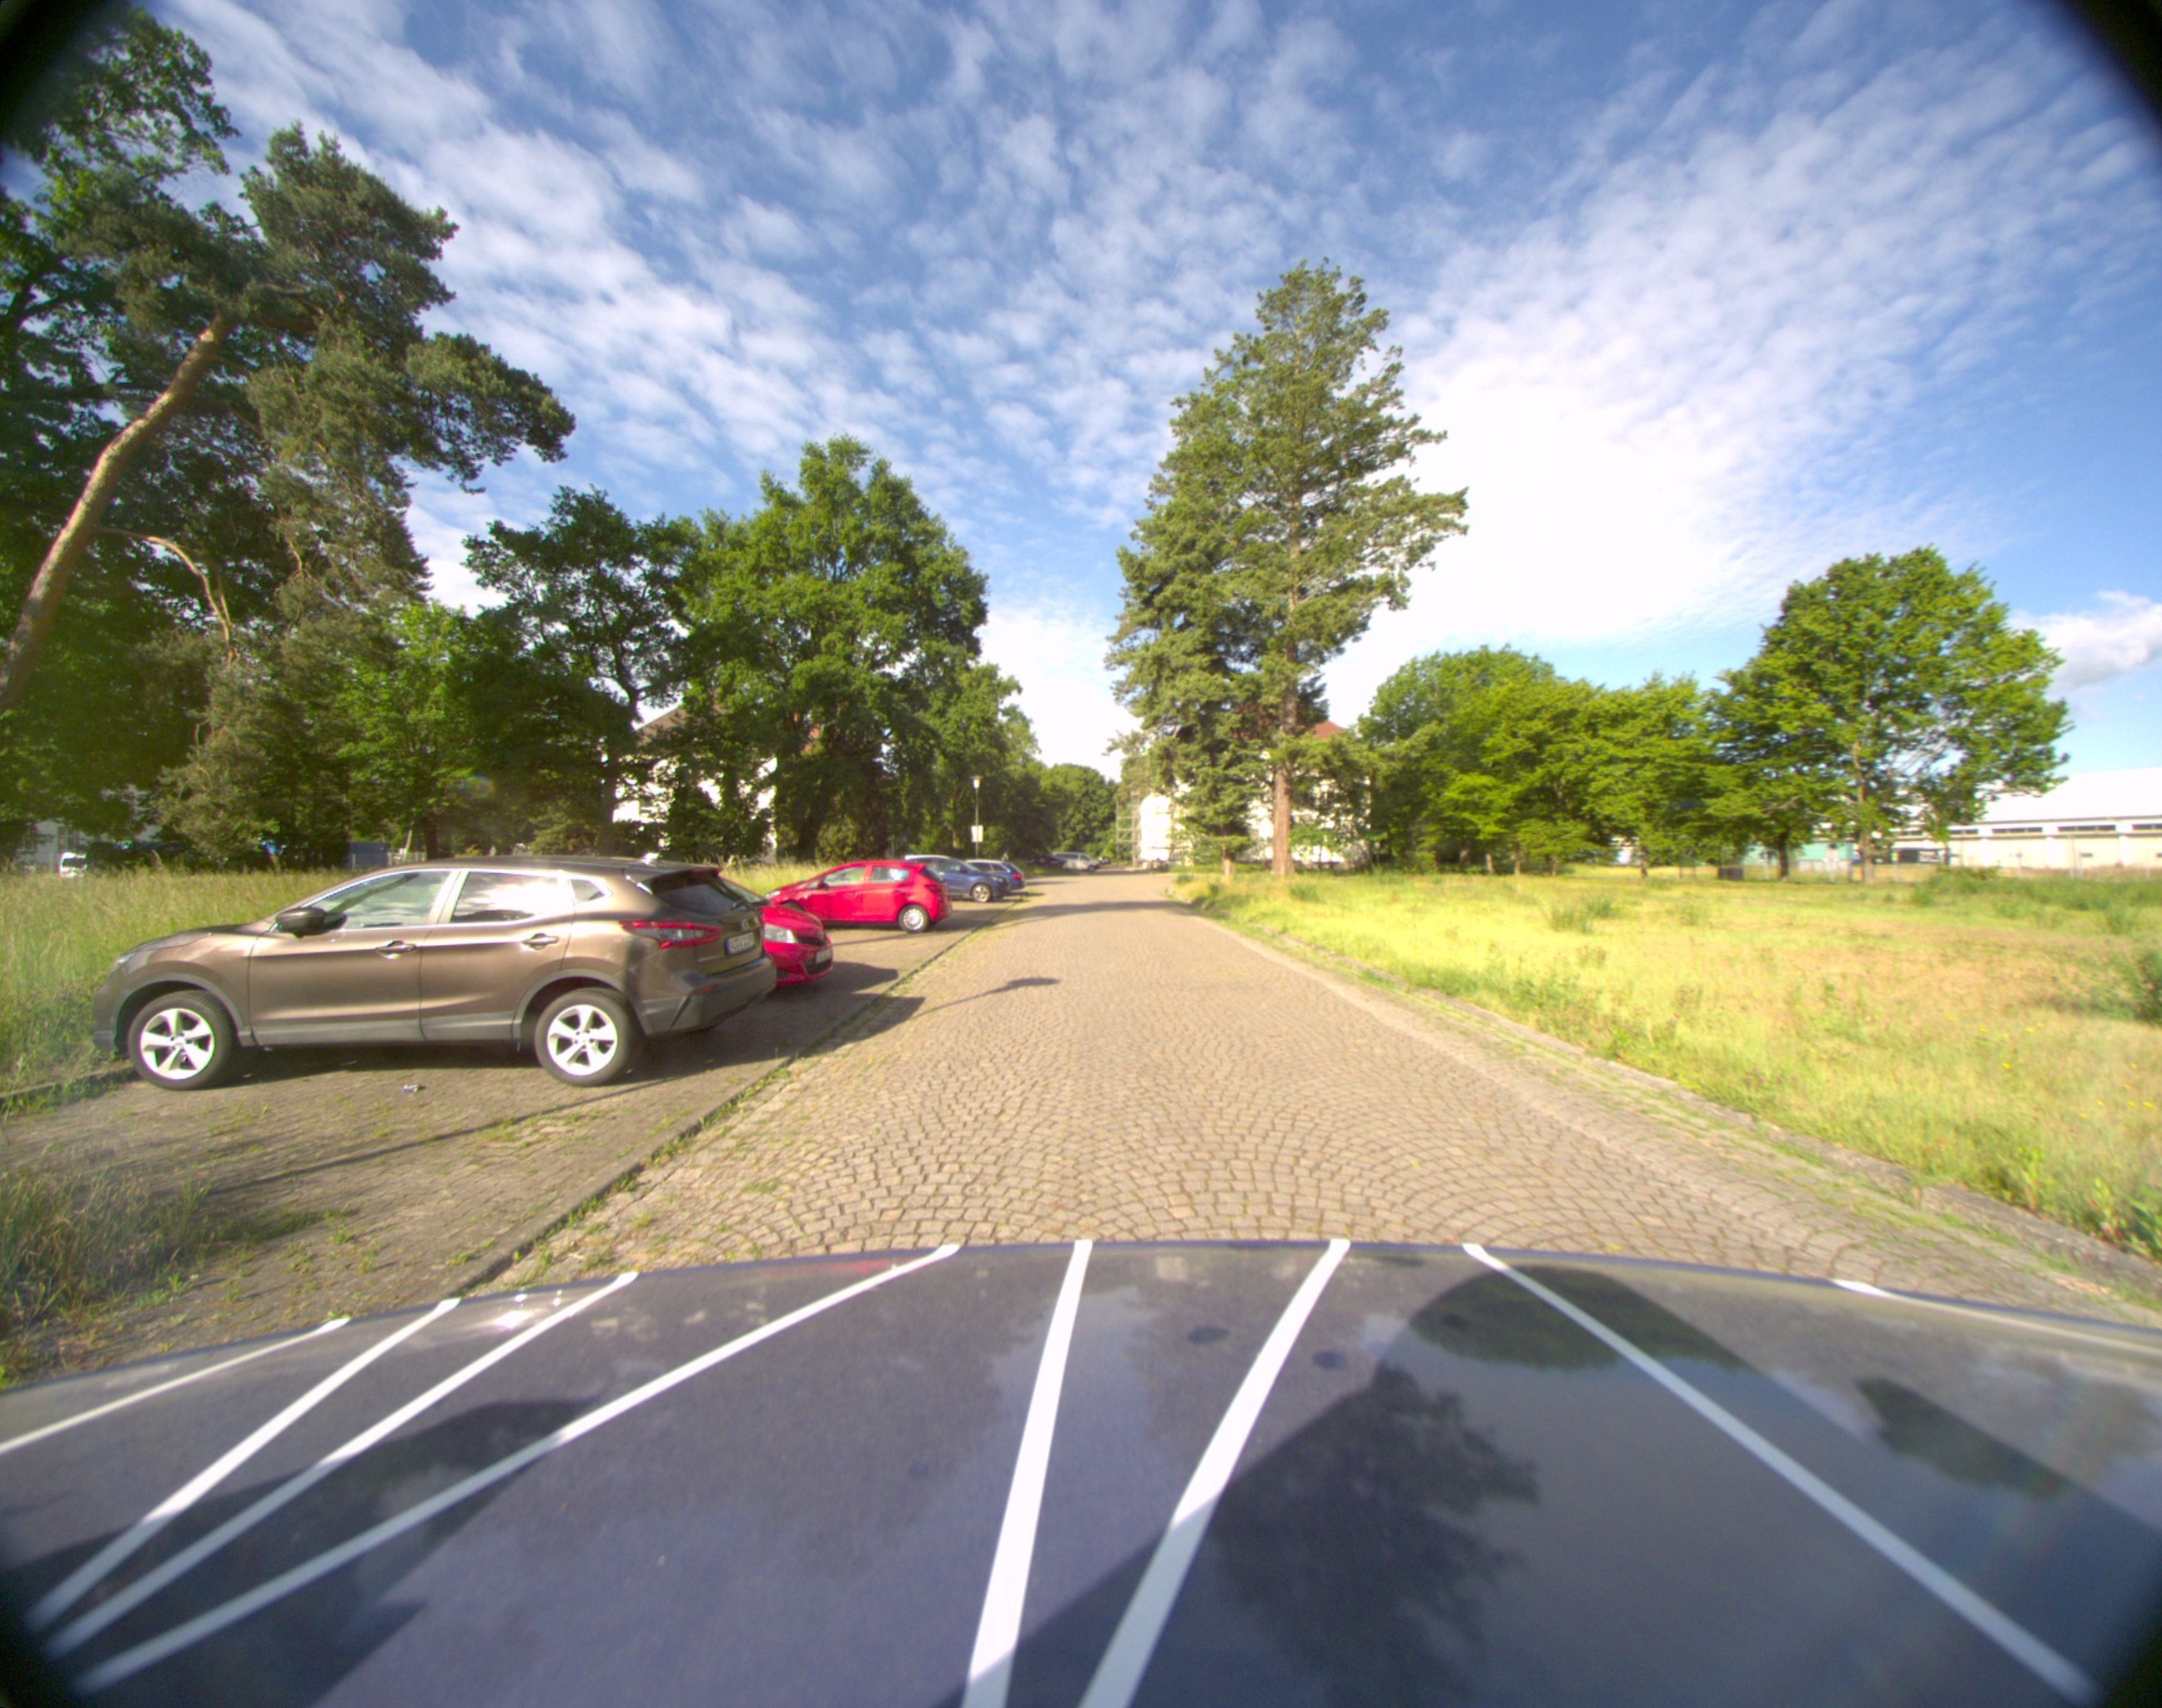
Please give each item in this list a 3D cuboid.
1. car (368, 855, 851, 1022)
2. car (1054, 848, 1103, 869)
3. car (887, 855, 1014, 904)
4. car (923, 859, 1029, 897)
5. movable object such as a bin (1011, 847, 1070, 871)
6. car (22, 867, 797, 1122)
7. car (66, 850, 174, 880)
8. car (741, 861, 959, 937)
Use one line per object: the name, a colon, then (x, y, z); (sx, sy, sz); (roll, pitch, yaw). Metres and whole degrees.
car: (-5.027, 0.864, 8.637); (4.237, 1.588, 1.934); (1, 1, -2)
car: (-0.264, 0.453, 80.012); (4.933, 2.002, 1.999); (1, 1, -6)
car: (-4.484, 0.856, 26.529); (4.098, 1.548, 1.853); (1, 0, -1)
car: (-4.240, 0.956, 31.241); (4.098, 1.415, 1.784); (1, 0, -1)
movable object such as a bin: (-3.555, 0.452, 67.000); (4.865, 2.002, 2.002); (-1, 0, 13)
car: (-4.691, 0.928, 5.930); (4.237, 1.588, 1.934); (0, 1, -2)
car: (-67.899, 0.723, 53.826); (1.906, 1.928, 4.395); (-2, 1, 2)
car: (-4.820, 0.920, 16.329); (4.098, 1.451, 1.853); (1, 0, -1)
